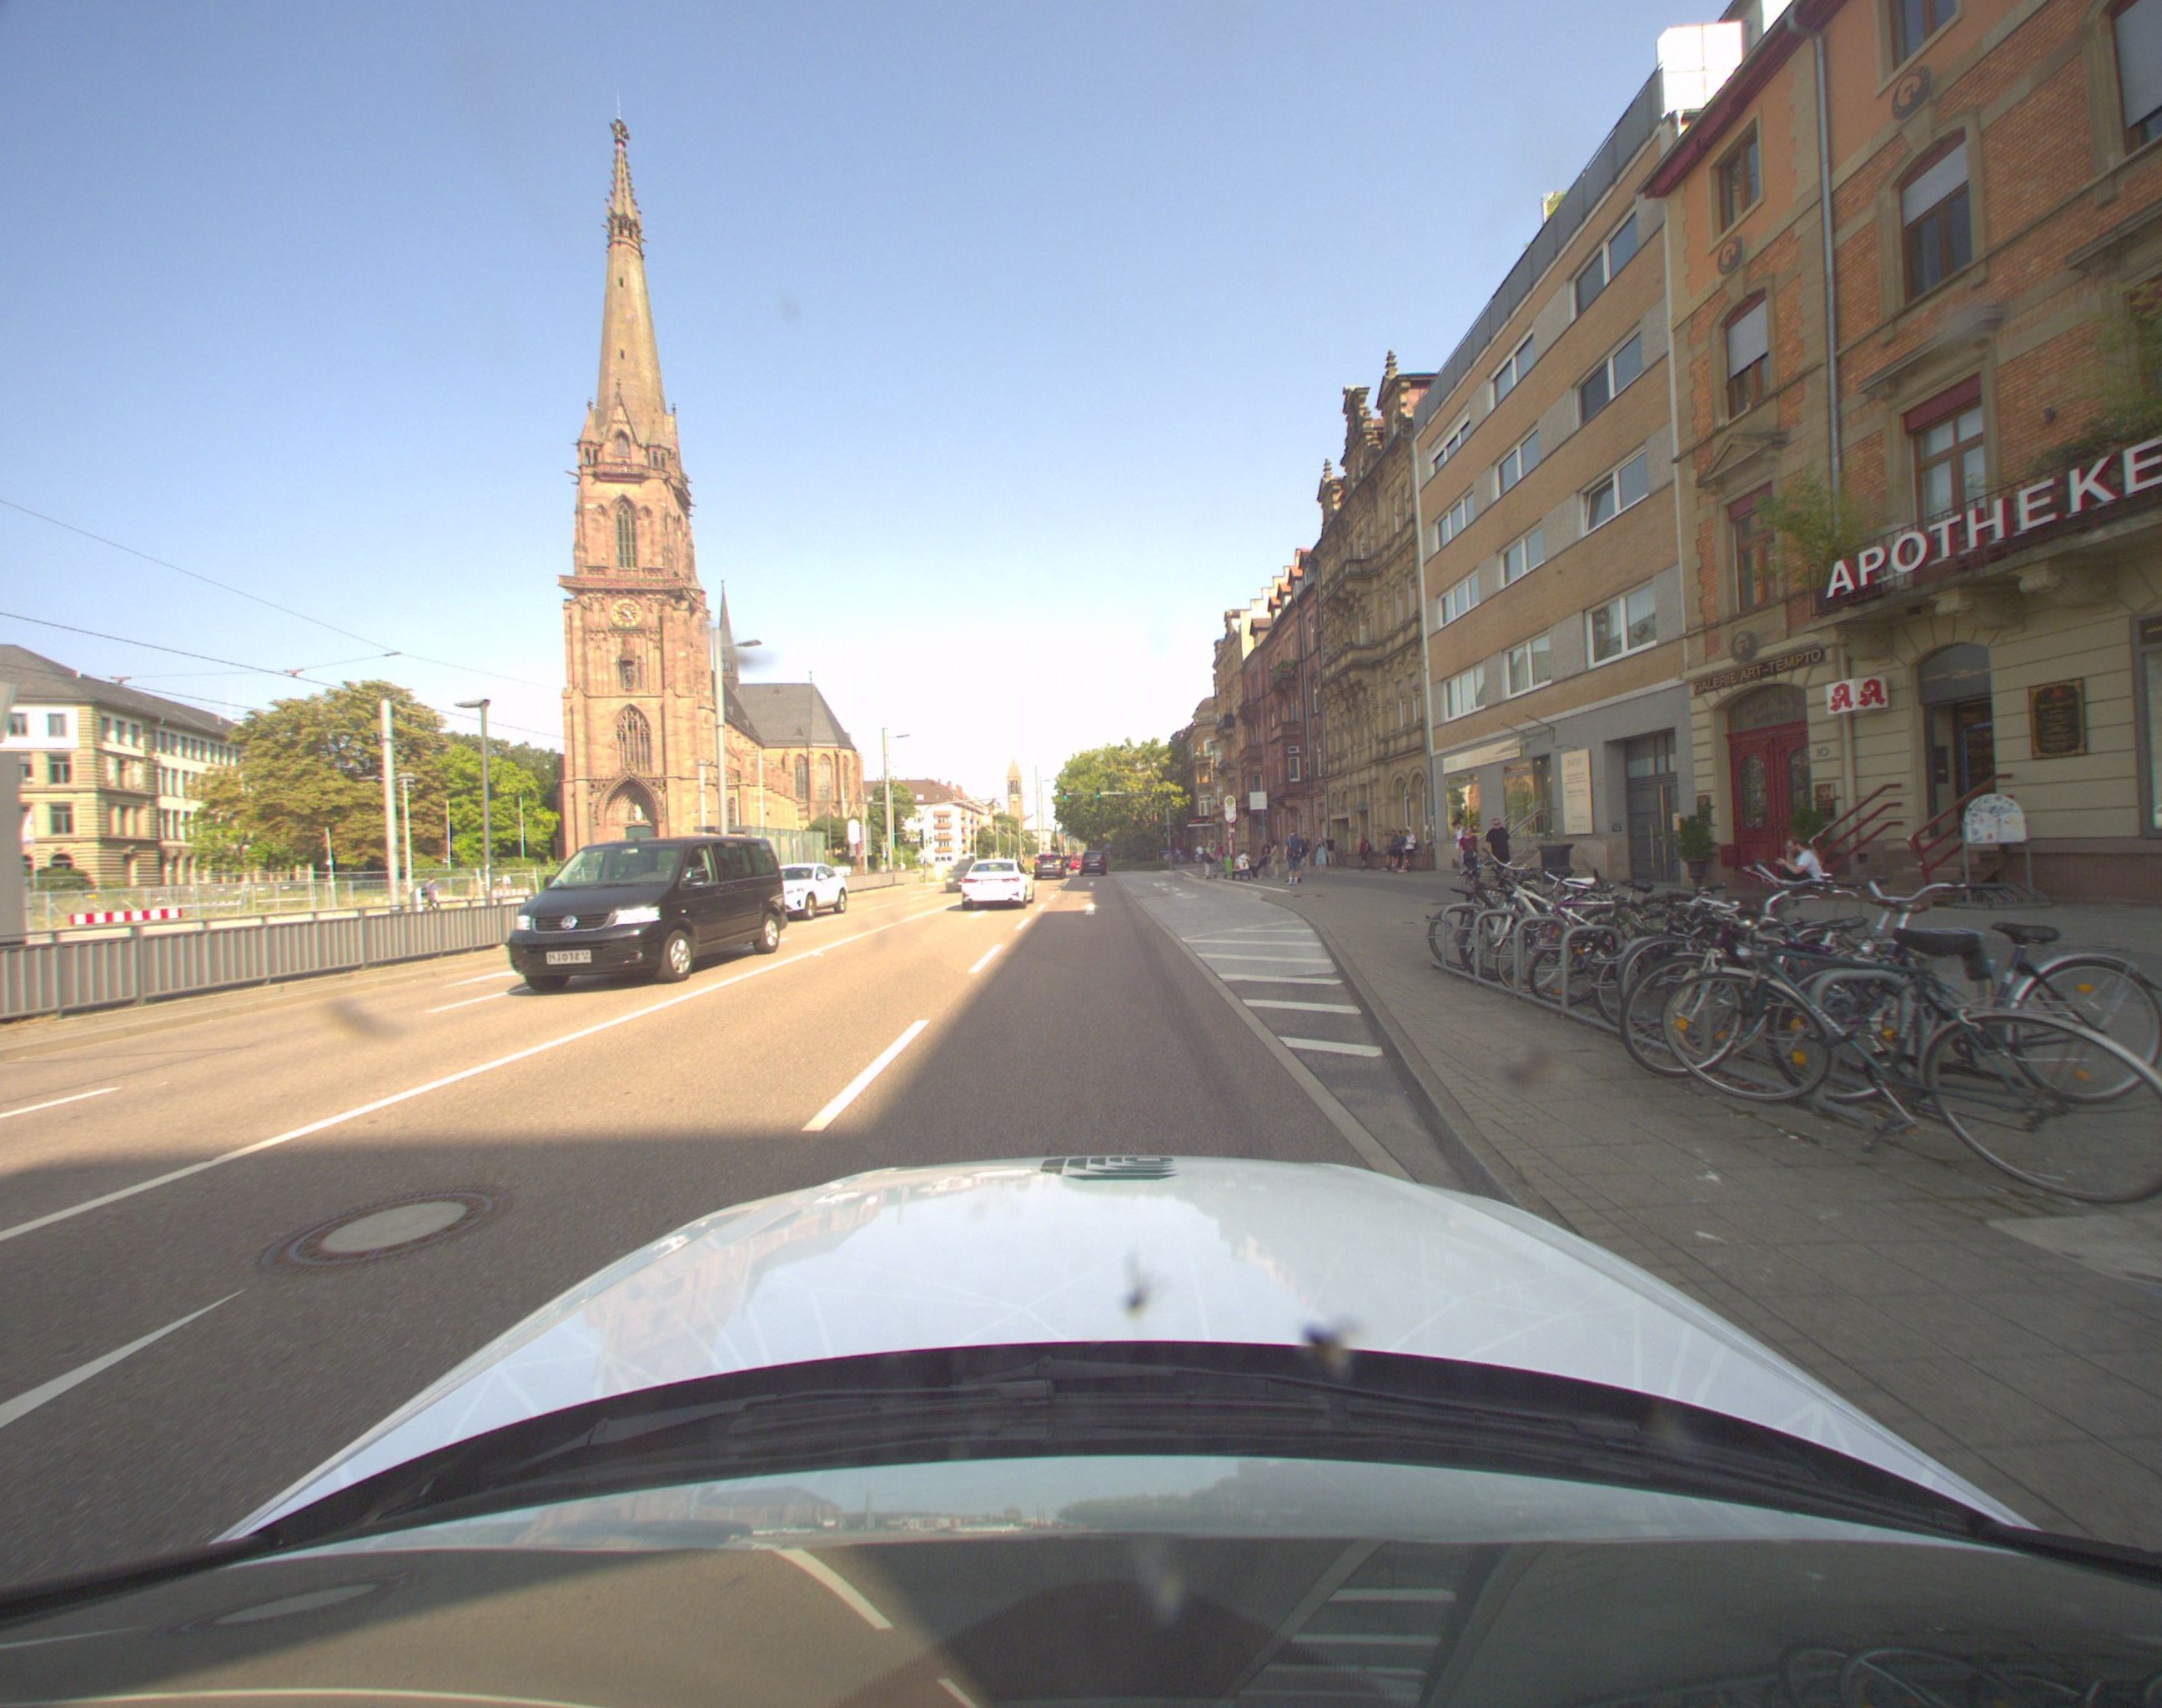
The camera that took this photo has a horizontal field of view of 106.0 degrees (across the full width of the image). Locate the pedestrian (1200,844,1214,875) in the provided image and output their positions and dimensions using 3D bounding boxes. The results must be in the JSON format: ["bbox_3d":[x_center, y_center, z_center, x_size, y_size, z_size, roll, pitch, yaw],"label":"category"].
[{"bbox_3d":[6.616,0.299,42.911,0.527,1.612,0.702,-3,0,-2],"label":"pedestrian"}]

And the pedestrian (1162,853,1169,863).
[{"bbox_3d":[9.433,0.485,90.826,0.446,1.070,0.482,-3,0,-30],"label":"pedestrian"}]

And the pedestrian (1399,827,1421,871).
[{"bbox_3d":[13.203,-0.206,32.723,0.602,1.731,0.510,-3,0,-3],"label":"pedestrian"}]

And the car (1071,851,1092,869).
[{"bbox_3d":[0.072,0.555,77.619,1.825,1.621,4.358,-1,0,1],"label":"car"}]

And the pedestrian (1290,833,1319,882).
[{"bbox_3d":[8.061,0.125,29.401,0.748,1.729,0.800,-3,0,-3],"label":"pedestrian"}]

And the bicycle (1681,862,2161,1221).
[{"bbox_3d":[3.483,0.624,3.517,0.406,1.148,1.653,-3,0,-5],"label":"bicycle"}]

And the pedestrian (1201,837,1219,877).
[{"bbox_3d":[5.630,0.137,35.538,0.563,1.729,0.745,-3,0,-2],"label":"pedestrian"}]

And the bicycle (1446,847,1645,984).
[{"bbox_3d":[4.293,0.549,7.556,1.630,1.148,0.385,-3,0,-4],"label":"bicycle"}]

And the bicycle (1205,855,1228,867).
[{"bbox_3d":[12.505,0.627,75.137,1.925,1.048,0.526,-3,0,-5],"label":"bicycle"}]

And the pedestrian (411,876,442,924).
[{"bbox_3d":[-23.725,1.662,29.538,0.515,1.700,0.664,-3,0,0],"label":"pedestrian"}]

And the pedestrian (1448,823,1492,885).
[{"bbox_3d":[10.479,0.003,21.973,0.717,1.610,0.856,-3,0,2],"label":"pedestrian"}]

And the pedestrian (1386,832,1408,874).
[{"bbox_3d":[13.090,-0.034,33.775,0.602,1.692,0.586,-3,0,-3],"label":"pedestrian"}]

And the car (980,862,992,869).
[{"bbox_3d":[-20.341,2.483,174.778,1.988,1.500,3.998,-3,0,-1],"label":"car"}]

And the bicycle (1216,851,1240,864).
[{"bbox_3d":[12.750,0.309,70.479,1.925,1.048,0.499,-3,0,-5],"label":"bicycle"}]

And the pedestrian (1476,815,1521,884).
[{"bbox_3d":[11.240,-0.122,21.960,0.717,1.787,0.856,-3,0,2],"label":"pedestrian"}]

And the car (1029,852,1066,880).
[{"bbox_3d":[-2.016,0.685,50.475,1.986,1.621,4.358,-1,0,1],"label":"car"}]

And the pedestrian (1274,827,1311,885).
[{"bbox_3d":[6.910,0.055,26.622,0.923,1.831,0.800,-3,0,-3],"label":"pedestrian"}]

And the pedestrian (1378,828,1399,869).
[{"bbox_3d":[13.001,-0.234,34.423,0.602,1.692,0.586,-3,0,-3],"label":"pedestrian"}]

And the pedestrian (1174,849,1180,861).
[{"bbox_3d":[10.932,0.126,92.687,0.596,1.248,0.506,-3,0,0],"label":"pedestrian"}]

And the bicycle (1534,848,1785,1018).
[{"bbox_3d":[4.326,0.568,6.118,1.630,1.148,0.385,-3,0,-4],"label":"bicycle"}]

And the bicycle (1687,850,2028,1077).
[{"bbox_3d":[4.427,0.594,4.671,1.630,1.148,0.385,-3,0,-4],"label":"bicycle"}]

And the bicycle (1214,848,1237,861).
[{"bbox_3d":[12.622,0.078,71.112,1.925,1.048,0.499,-3,0,-5],"label":"bicycle"}]

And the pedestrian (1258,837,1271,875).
[{"bbox_3d":[8.673,0.096,38.503,0.340,1.732,0.805,-3,0,-2],"label":"pedestrian"}]

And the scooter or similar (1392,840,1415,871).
[{"bbox_3d":[12.469,0.073,31.513,0.359,1.163,1.151,-3,0,-1],"label":"scooter or similar"}]

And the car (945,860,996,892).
[{"bbox_3d":[-5.303,1.034,39.473,1.707,1.331,4.521,-4,0,1],"label":"car"}]

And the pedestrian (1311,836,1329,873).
[{"bbox_3d":[10.603,0.004,36.126,0.484,1.610,0.813,-3,0,2],"label":"pedestrian"}]

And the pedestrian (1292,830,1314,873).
[{"bbox_3d":[9.751,-0.107,35.807,0.614,1.804,1.072,-3,0,2],"label":"pedestrian"}]

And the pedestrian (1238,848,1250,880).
[{"bbox_3d":[6.511,0.388,32.493,0.275,1.274,0.447,-3,0,-6],"label":"pedestrian"}]

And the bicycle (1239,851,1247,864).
[{"bbox_3d":[13.513,0.263,67.899,0.414,1.048,1.673,-3,0,6],"label":"bicycle"}]

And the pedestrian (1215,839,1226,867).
[{"bbox_3d":[8.487,-0.047,49.568,0.480,1.702,0.702,-3,0,-2],"label":"pedestrian"}]

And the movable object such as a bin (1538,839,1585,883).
[{"bbox_3d":[12.309,0.186,20.874,0.738,1.080,0.666,-3,0,-16],"label":"movable object such as a bin"}]

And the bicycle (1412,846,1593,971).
[{"bbox_3d":[4.253,0.536,8.244,1.630,1.148,0.385,-3,0,-4],"label":"bicycle"}]

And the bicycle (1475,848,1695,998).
[{"bbox_3d":[4.263,0.566,6.911,1.630,1.148,0.385,-3,0,-4],"label":"bicycle"}]

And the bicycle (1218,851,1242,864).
[{"bbox_3d":[12.733,0.298,69.746,1.925,1.048,0.499,-3,0,-5],"label":"bicycle"}]

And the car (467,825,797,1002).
[{"bbox_3d":[-6.012,0.687,11.773,1.987,1.904,4.716,-4,0,1],"label":"car"}]

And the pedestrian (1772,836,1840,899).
[{"bbox_3d":[11.805,0.207,13.282,0.606,0.982,0.640,-3,0,20],"label":"pedestrian"}]

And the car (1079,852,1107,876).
[{"bbox_3d":[0.880,0.656,57.401,1.825,1.621,4.358,-1,0,1],"label":"car"}]

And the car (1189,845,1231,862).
[{"bbox_3d":[14.099,-0.059,89.038,4.172,1.563,1.997,-3,0,-4],"label":"car"}]

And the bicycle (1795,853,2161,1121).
[{"bbox_3d":[4.463,0.609,3.985,1.630,1.148,0.385,-3,0,-4],"label":"bicycle"}]

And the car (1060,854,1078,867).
[{"bbox_3d":[-1.416,0.741,96.576,1.857,1.424,4.358,-1,0,1],"label":"car"}]

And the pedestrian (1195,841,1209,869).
[{"bbox_3d":[7.420,0.067,49.987,0.688,1.664,0.619,-3,0,1],"label":"pedestrian"}]

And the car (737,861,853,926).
[{"bbox_3d":[-8.340,1.077,24.203,1.707,1.611,4.505,-4,0,1],"label":"car"}]

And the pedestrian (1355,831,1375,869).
[{"bbox_3d":[12.718,-0.179,36.426,0.602,1.654,0.586,-3,0,-3],"label":"pedestrian"}]

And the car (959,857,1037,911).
[{"bbox_3d":[-2.394,0.816,24.674,1.803,1.427,4.775,0,0,1],"label":"car"}]

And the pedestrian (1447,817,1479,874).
[{"bbox_3d":[12.535,-0.274,26.710,0.602,1.831,0.742,-3,0,-2],"label":"pedestrian"}]

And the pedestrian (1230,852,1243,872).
[{"bbox_3d":[6.379,0.332,33.427,0.302,0.820,0.603,-3,0,-6],"label":"pedestrian"}]

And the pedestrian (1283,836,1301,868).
[{"bbox_3d":[11.565,-0.112,44.608,0.698,1.724,0.897,-3,0,1],"label":"pedestrian"}]

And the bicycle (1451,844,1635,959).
[{"bbox_3d":[5.042,0.508,8.951,1.626,1.148,0.602,-3,0,2],"label":"bicycle"}]

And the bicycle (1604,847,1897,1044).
[{"bbox_3d":[4.357,0.572,5.331,1.630,1.148,0.385,-3,0,-4],"label":"bicycle"}]

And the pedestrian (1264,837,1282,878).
[{"bbox_3d":[8.336,0.134,35.330,0.563,1.729,0.617,-3,0,-3],"label":"pedestrian"}]

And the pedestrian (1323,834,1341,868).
[{"bbox_3d":[12.741,-0.157,41.338,0.627,1.719,0.691,-3,0,0],"label":"pedestrian"}]

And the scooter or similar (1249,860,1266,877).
[{"bbox_3d":[7.644,0.626,35.278,0.563,0.741,0.514,-3,0,-3],"label":"scooter or similar"}]

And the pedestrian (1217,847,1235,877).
[{"bbox_3d":[6.317,0.329,35.472,0.563,1.277,0.596,-3,0,-3],"label":"pedestrian"}]
